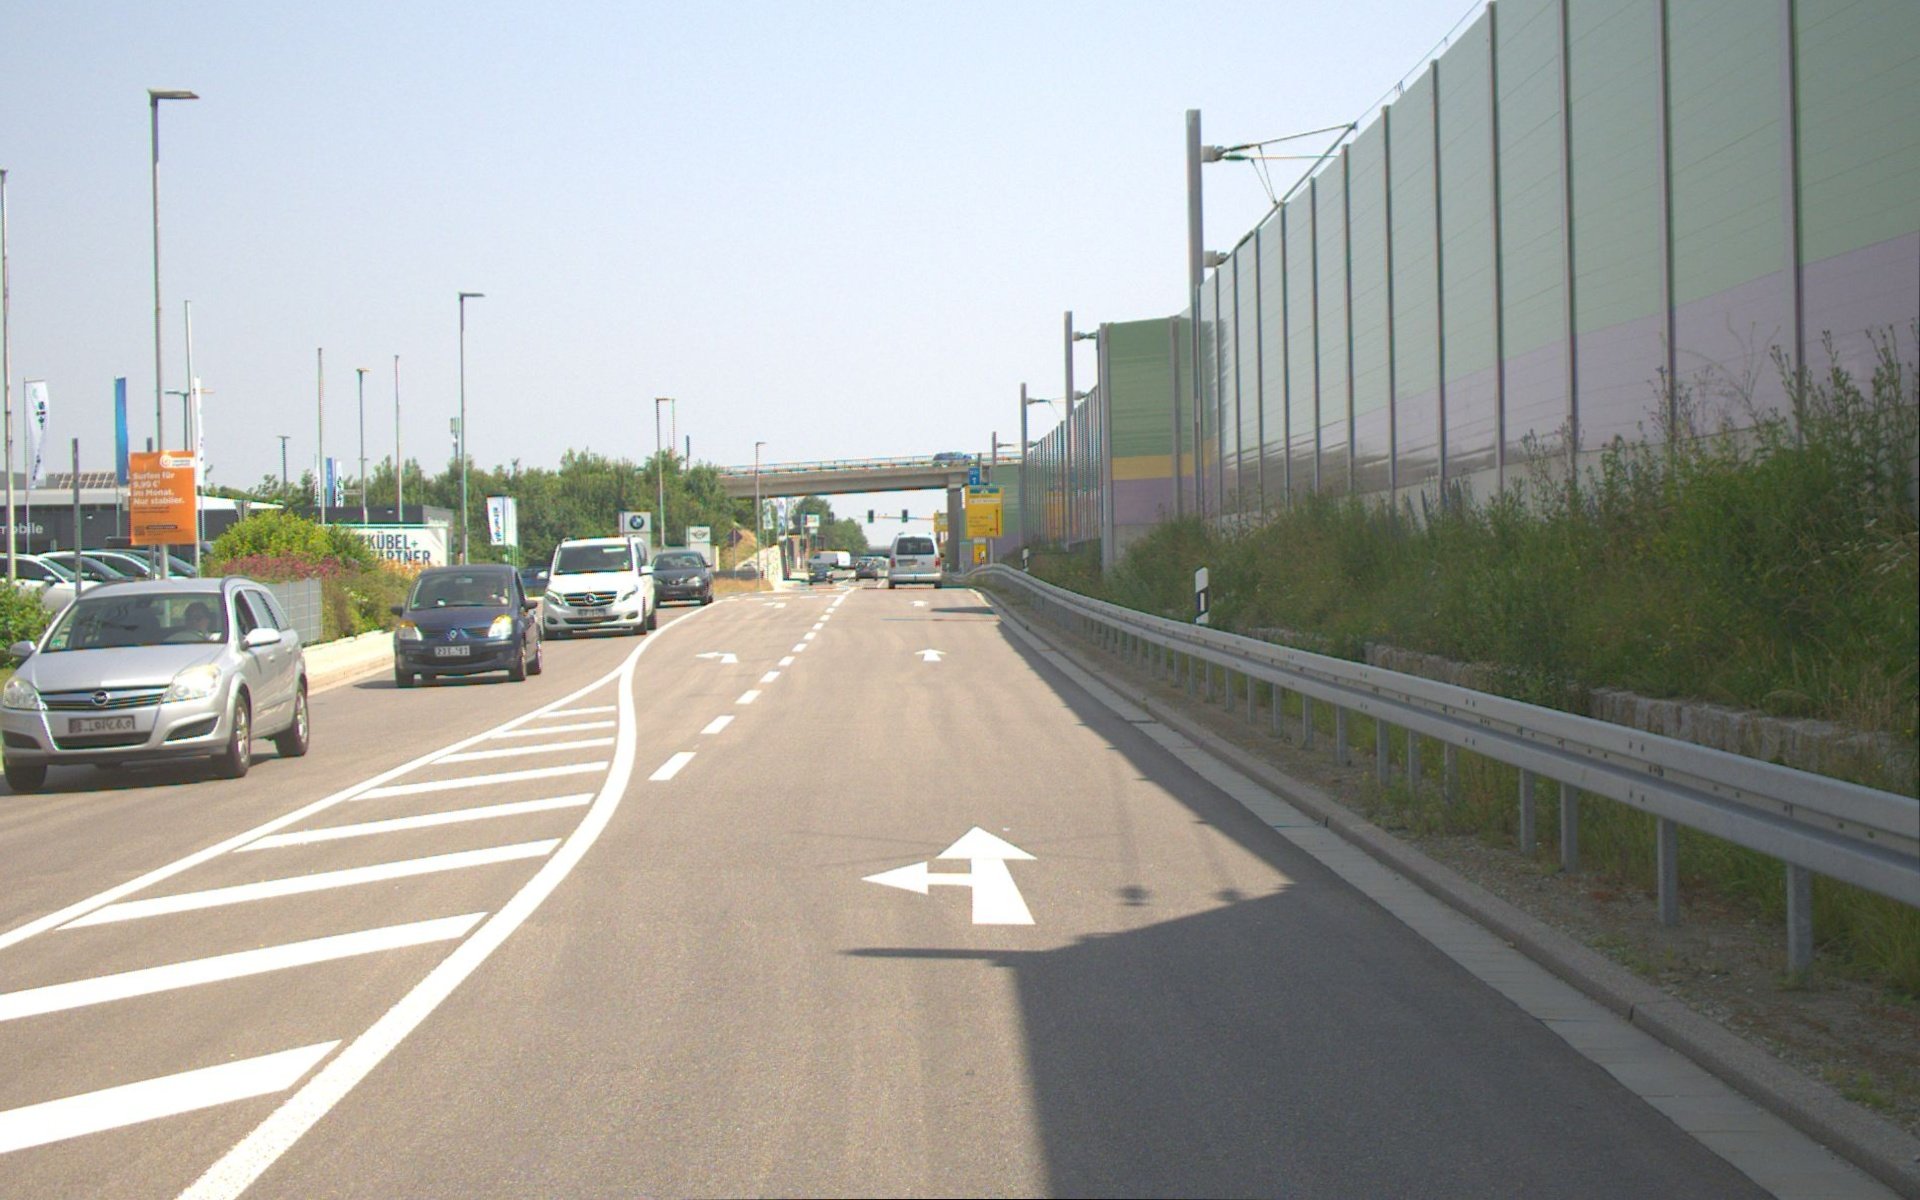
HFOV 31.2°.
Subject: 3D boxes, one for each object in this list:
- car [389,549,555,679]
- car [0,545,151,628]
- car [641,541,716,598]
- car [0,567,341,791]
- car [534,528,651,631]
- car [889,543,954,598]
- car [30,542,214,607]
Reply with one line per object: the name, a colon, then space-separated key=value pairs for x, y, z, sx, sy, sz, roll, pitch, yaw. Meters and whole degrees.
car: x=-6.535 y=0.154 z=46.340 sx=1.668 sy=1.594 sz=3.973 roll=-3 pitch=1 yaw=-1
car: x=-17.300 y=-0.279 z=63.698 sx=4.223 sy=1.451 sz=1.764 roll=2 pitch=1 yaw=-2
car: x=-7.310 y=-0.803 z=89.661 sx=1.670 sy=1.418 sz=4.000 roll=-2 pitch=1 yaw=-1
car: x=-6.015 y=0.534 z=26.120 sx=1.764 sy=1.461 sz=4.259 roll=-3 pitch=1 yaw=0
car: x=-7.143 y=-0.406 z=67.177 sx=1.993 sy=1.867 sz=5.170 roll=-2 pitch=1 yaw=-4
car: x=-1.253 y=-0.971 z=113.158 sx=1.993 sy=1.751 sz=4.000 roll=-1 pitch=1 yaw=1
car: x=-17.692 y=-0.546 z=72.665 sx=3.509 sy=1.250 sz=1.505 roll=2 pitch=1 yaw=-2
